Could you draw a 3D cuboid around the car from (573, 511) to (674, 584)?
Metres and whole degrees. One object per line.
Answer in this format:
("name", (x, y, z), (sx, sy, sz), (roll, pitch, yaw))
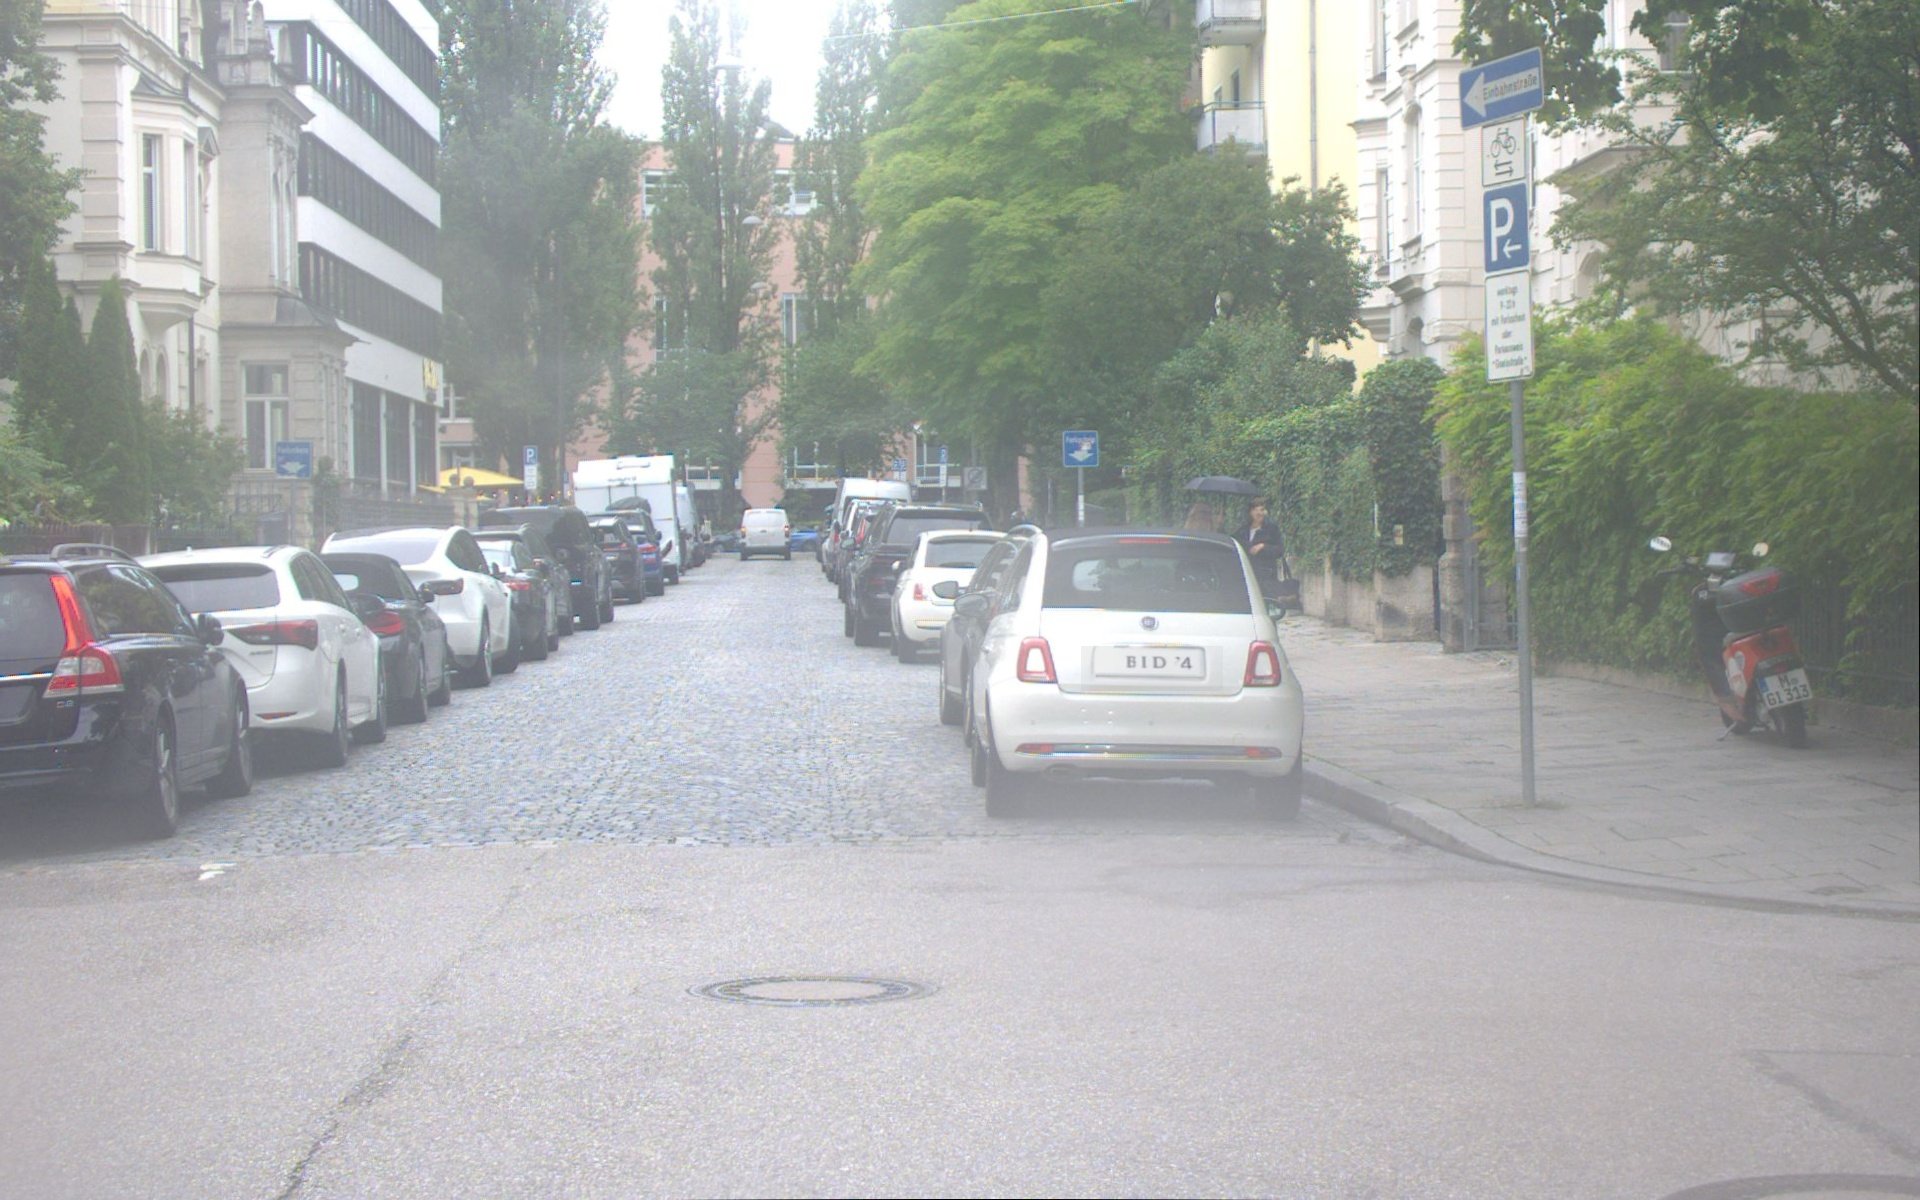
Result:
("car", (-6.895, -1.080, 70.746), (1.939, 1.454, 4.059), (0, 1, -4))

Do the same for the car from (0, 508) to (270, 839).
("car", (-5.008, 0.311, 18.779), (1.852, 1.580, 4.749), (0, 1, -4))

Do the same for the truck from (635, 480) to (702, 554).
("truck", (-9.380, -2.666, 110.820), (1.993, 2.338, 4.068), (0, 1, -3))

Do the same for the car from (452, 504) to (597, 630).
("car", (-5.951, -0.463, 47.349), (1.579, 1.584, 4.056), (-3, 1, -2))

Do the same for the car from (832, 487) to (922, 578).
("car", (-1.919, -1.537, 78.103), (1.800, 1.943, 4.861), (2, 1, -3))

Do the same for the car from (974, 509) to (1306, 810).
("car", (0.898, 0.260, 18.876), (1.502, 1.466, 3.796), (-1, 1, -2))

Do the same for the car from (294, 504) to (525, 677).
("car", (-5.521, -0.127, 34.948), (1.773, 1.642, 4.391), (0, 1, -2))

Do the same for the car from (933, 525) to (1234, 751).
("car", (0.799, 0.213, 24.935), (1.648, 1.417, 4.633), (3, 1, -4))

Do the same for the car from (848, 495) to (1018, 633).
("car", (-0.413, -0.484, 44.383), (1.874, 1.667, 5.492), (0, 1, -4))

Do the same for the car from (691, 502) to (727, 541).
("car", (-9.988, -3.113, 136.714), (1.276, 1.536, 3.119), (0, 1, -1))

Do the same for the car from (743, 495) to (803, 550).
("car", (-6.696, -2.775, 123.382), (1.996, 1.929, 4.000), (-1, 1, -1))

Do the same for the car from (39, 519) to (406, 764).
("car", (-4.985, 0.219, 23.817), (1.773, 1.531, 4.541), (0, 1, -3))

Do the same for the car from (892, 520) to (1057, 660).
("car", (0.123, -0.143, 38.929), (1.630, 1.464, 3.659), (2, 1, -3))

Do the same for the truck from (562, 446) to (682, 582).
("truck", (-8.014, -2.075, 82.087), (2.508, 3.021, 6.386), (-3, 2, -4))

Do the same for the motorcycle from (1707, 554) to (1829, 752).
("motorcycle", (4.596, 0.283, 19.611), (0.362, 1.086, 1.404), (0, 1, 0))

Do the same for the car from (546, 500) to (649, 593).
("car", (-6.876, -1.030, 65.521), (1.773, 1.712, 4.392), (0, 1, -4))

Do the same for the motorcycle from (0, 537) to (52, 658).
("motorcycle", (-9.662, -0.042, 35.016), (0.491, 1.190, 1.580), (0, 2, -3))

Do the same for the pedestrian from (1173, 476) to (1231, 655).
("pedestrian", (2.525, -0.369, 35.821), (0.576, 1.843, 0.681), (0, 1, 5))

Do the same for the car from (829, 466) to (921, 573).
("car", (-2.107, -1.988, 83.622), (1.895, 2.418, 5.612), (3, 2, -4))

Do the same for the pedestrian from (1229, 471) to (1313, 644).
("pedestrian", (3.278, -0.449, 36.228), (0.628, 1.802, 0.660), (-1, 1, -26))

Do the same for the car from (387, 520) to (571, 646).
("car", (-5.682, -0.231, 41.055), (1.773, 1.424, 4.391), (0, 1, -3))

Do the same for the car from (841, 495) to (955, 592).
("car", (-1.216, -1.075, 65.197), (1.963, 1.753, 4.955), (0, 1, -3))

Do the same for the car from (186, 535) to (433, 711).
("car", (-5.377, 0.136, 28.847), (1.773, 1.355, 4.392), (0, 1, -7))
